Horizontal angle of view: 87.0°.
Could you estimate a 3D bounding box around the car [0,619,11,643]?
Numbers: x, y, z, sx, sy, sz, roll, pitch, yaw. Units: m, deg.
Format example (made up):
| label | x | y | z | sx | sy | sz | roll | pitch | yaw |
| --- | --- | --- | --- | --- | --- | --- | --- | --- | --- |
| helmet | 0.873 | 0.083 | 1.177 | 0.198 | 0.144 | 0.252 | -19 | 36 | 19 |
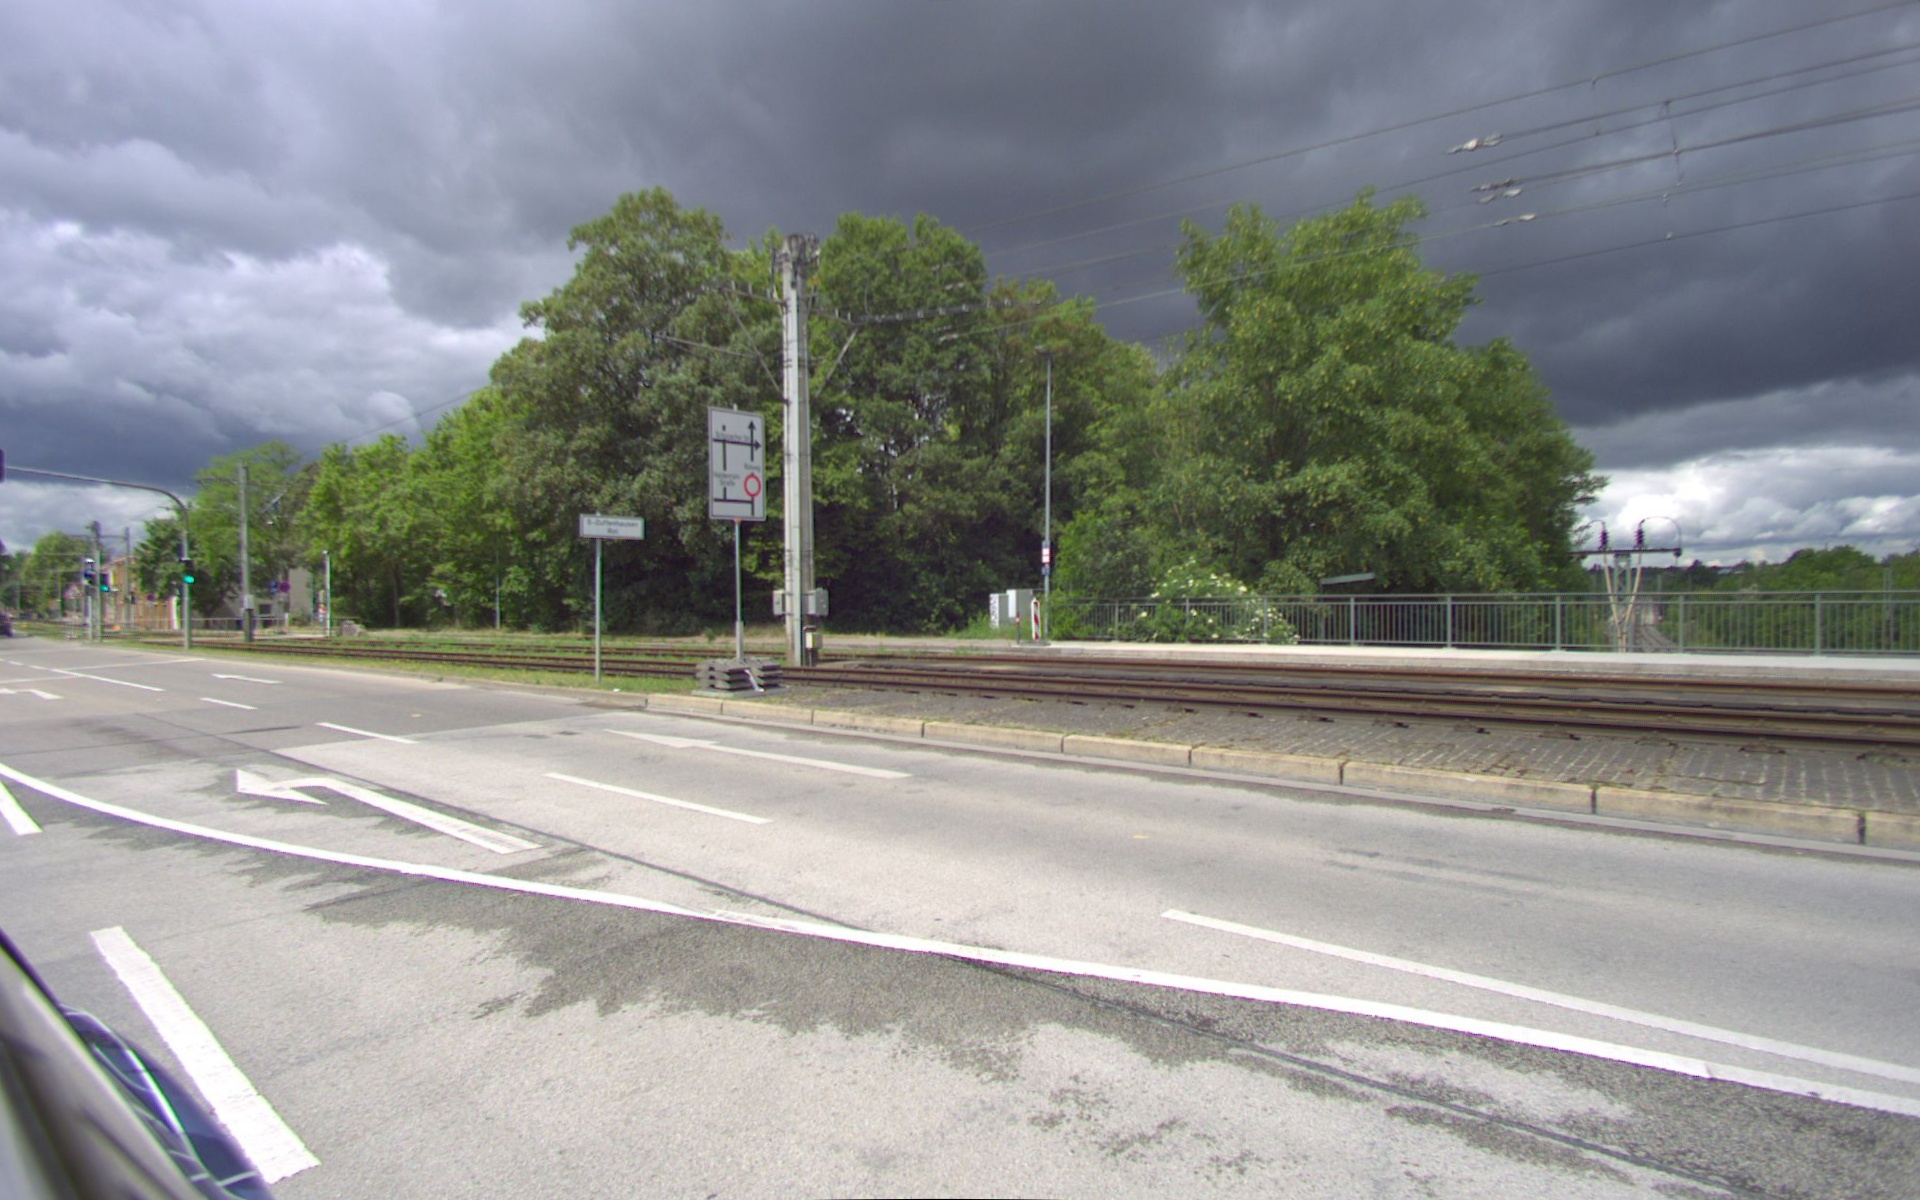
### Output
| label | x | y | z | sx | sy | sz | roll | pitch | yaw |
| --- | --- | --- | --- | --- | --- | --- | --- | --- | --- |
| car | -69.941 | 2.256 | 73.129 | 4.229 | 1.688 | 1.689 | -1 | 2 | 44 |
